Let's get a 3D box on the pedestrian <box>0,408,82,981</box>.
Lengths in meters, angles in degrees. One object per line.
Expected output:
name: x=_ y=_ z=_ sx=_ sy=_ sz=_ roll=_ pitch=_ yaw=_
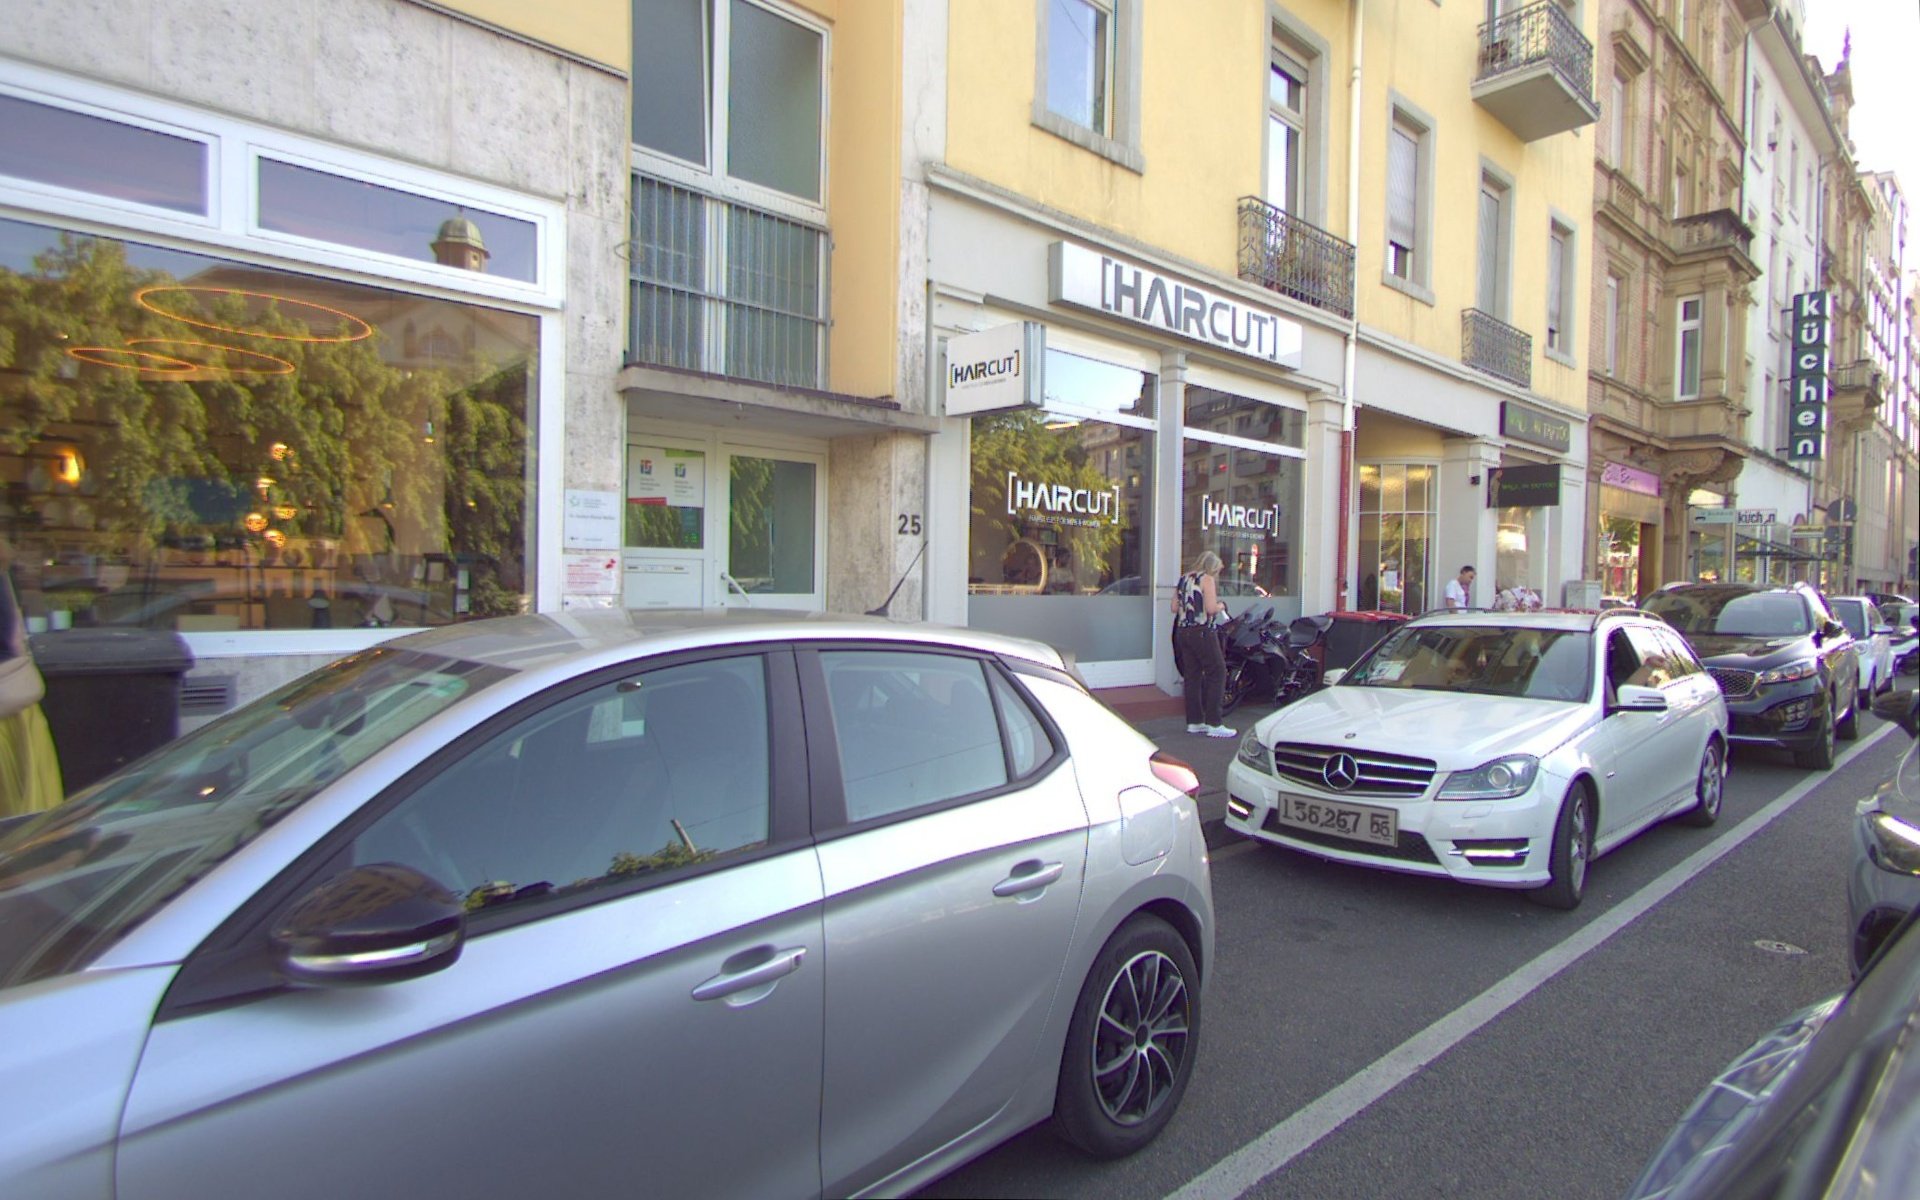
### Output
pedestrian: x=-3.358 y=0.293 z=3.370 sx=0.740 sy=1.806 sz=0.559 roll=1 pitch=0 yaw=42

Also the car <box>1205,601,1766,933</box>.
car: x=3.544 y=0.722 z=6.424 sx=4.302 sy=1.376 sz=1.703 roll=-1 pitch=1 yaw=-41

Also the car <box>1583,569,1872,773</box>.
car: x=7.977 y=0.552 z=10.364 sx=4.176 sy=1.659 sz=1.799 roll=-1 pitch=1 yaw=-45

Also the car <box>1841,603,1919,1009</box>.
car: x=5.242 y=0.707 z=4.253 sx=3.930 sy=1.376 sz=1.801 roll=-1 pitch=1 yaw=-41

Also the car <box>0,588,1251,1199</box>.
car: x=-1.000 y=0.699 z=2.292 sx=3.597 sy=1.445 sz=1.549 roll=-1 pitch=1 yaw=-42

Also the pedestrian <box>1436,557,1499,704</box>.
pedestrian: x=7.077 y=0.414 z=14.114 sx=0.679 sy=2.008 sz=0.375 roll=1 pitch=1 yaw=-18

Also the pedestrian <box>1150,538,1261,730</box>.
pedestrian: x=2.249 y=0.281 z=9.295 sx=0.595 sy=1.674 sz=0.719 roll=0 pitch=3 yaw=-40

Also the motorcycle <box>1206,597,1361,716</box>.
motorcycle: x=3.394 y=0.537 z=10.527 sx=1.920 sy=1.091 sz=0.567 roll=-1 pitch=4 yaw=-41

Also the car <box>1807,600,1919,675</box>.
car: x=18.128 y=0.667 z=19.862 sx=4.016 sy=1.282 sz=1.800 roll=-1 pitch=1 yaw=-42

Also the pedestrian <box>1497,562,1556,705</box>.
pedestrian: x=7.624 y=0.437 z=13.637 sx=0.567 sy=1.874 sz=0.661 roll=0 pitch=0 yaw=19

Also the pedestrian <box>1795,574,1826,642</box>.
pedestrian: x=23.957 y=0.210 z=28.508 sx=0.653 sy=1.874 sz=0.574 roll=0 pitch=0 yaw=-40

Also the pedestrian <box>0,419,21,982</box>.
pedestrian: x=-3.167 y=0.304 z=2.745 sx=0.635 sy=1.686 sz=0.659 roll=0 pitch=0 yaw=-3

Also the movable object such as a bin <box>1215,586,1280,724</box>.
movable object such as a bin: x=2.722 y=0.505 z=9.585 sx=0.387 sy=1.253 sz=0.391 roll=0 pitch=3 yaw=-41

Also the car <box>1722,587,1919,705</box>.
car: x=13.119 y=0.582 z=15.331 sx=4.016 sy=1.546 sz=1.800 roll=-1 pitch=0 yaw=-42

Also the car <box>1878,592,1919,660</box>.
car: x=22.235 y=0.554 z=23.000 sx=4.016 sy=1.450 sz=1.657 roll=-1 pitch=0 yaw=-42

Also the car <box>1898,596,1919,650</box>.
car: x=26.572 y=0.587 z=27.119 sx=3.773 sy=1.357 sz=1.800 roll=-1 pitch=1 yaw=-42
